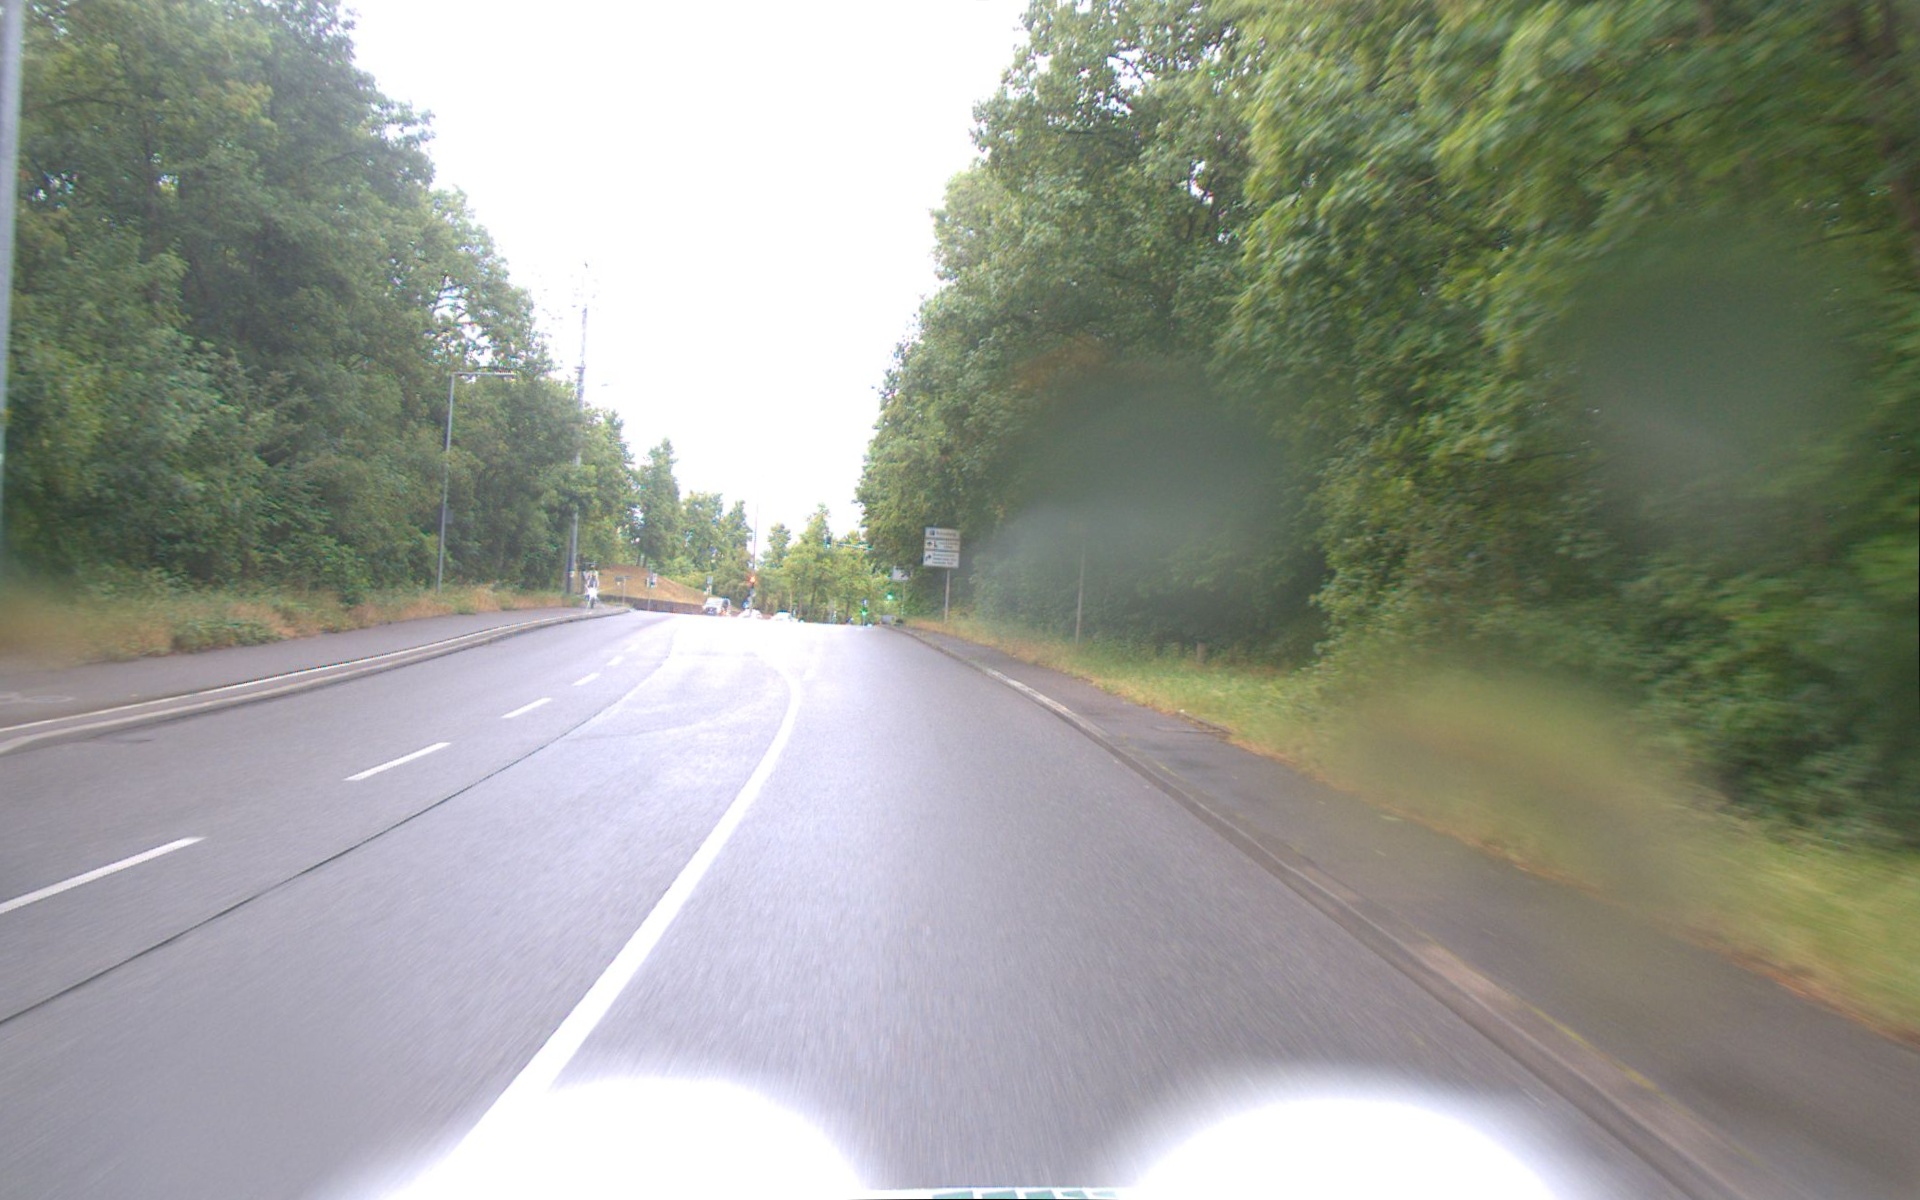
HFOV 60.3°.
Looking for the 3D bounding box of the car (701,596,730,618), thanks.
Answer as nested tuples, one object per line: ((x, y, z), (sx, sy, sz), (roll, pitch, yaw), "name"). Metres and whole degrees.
((-21.923, 0.647, 148.464), (1.953, 1.881, 3.999), (1, -1, 0), "car")

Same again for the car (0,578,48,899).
((-5.398, 0.644, 6.033), (1.896, 1.524, 4.315), (2, 0, -3), "car")

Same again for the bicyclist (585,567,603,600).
((-18.649, -0.847, 84.324), (0.691, 1.673, 0.950), (1, 0, -4), "bicyclist")

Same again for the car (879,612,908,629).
((-6.360, 1.975, 158.827), (1.894, 1.524, 4.322), (2, 0, 10), "car")

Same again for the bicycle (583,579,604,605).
((-18.668, -0.402, 84.318), (0.691, 1.264, 2.162), (1, 0, -4), "bicycle")
